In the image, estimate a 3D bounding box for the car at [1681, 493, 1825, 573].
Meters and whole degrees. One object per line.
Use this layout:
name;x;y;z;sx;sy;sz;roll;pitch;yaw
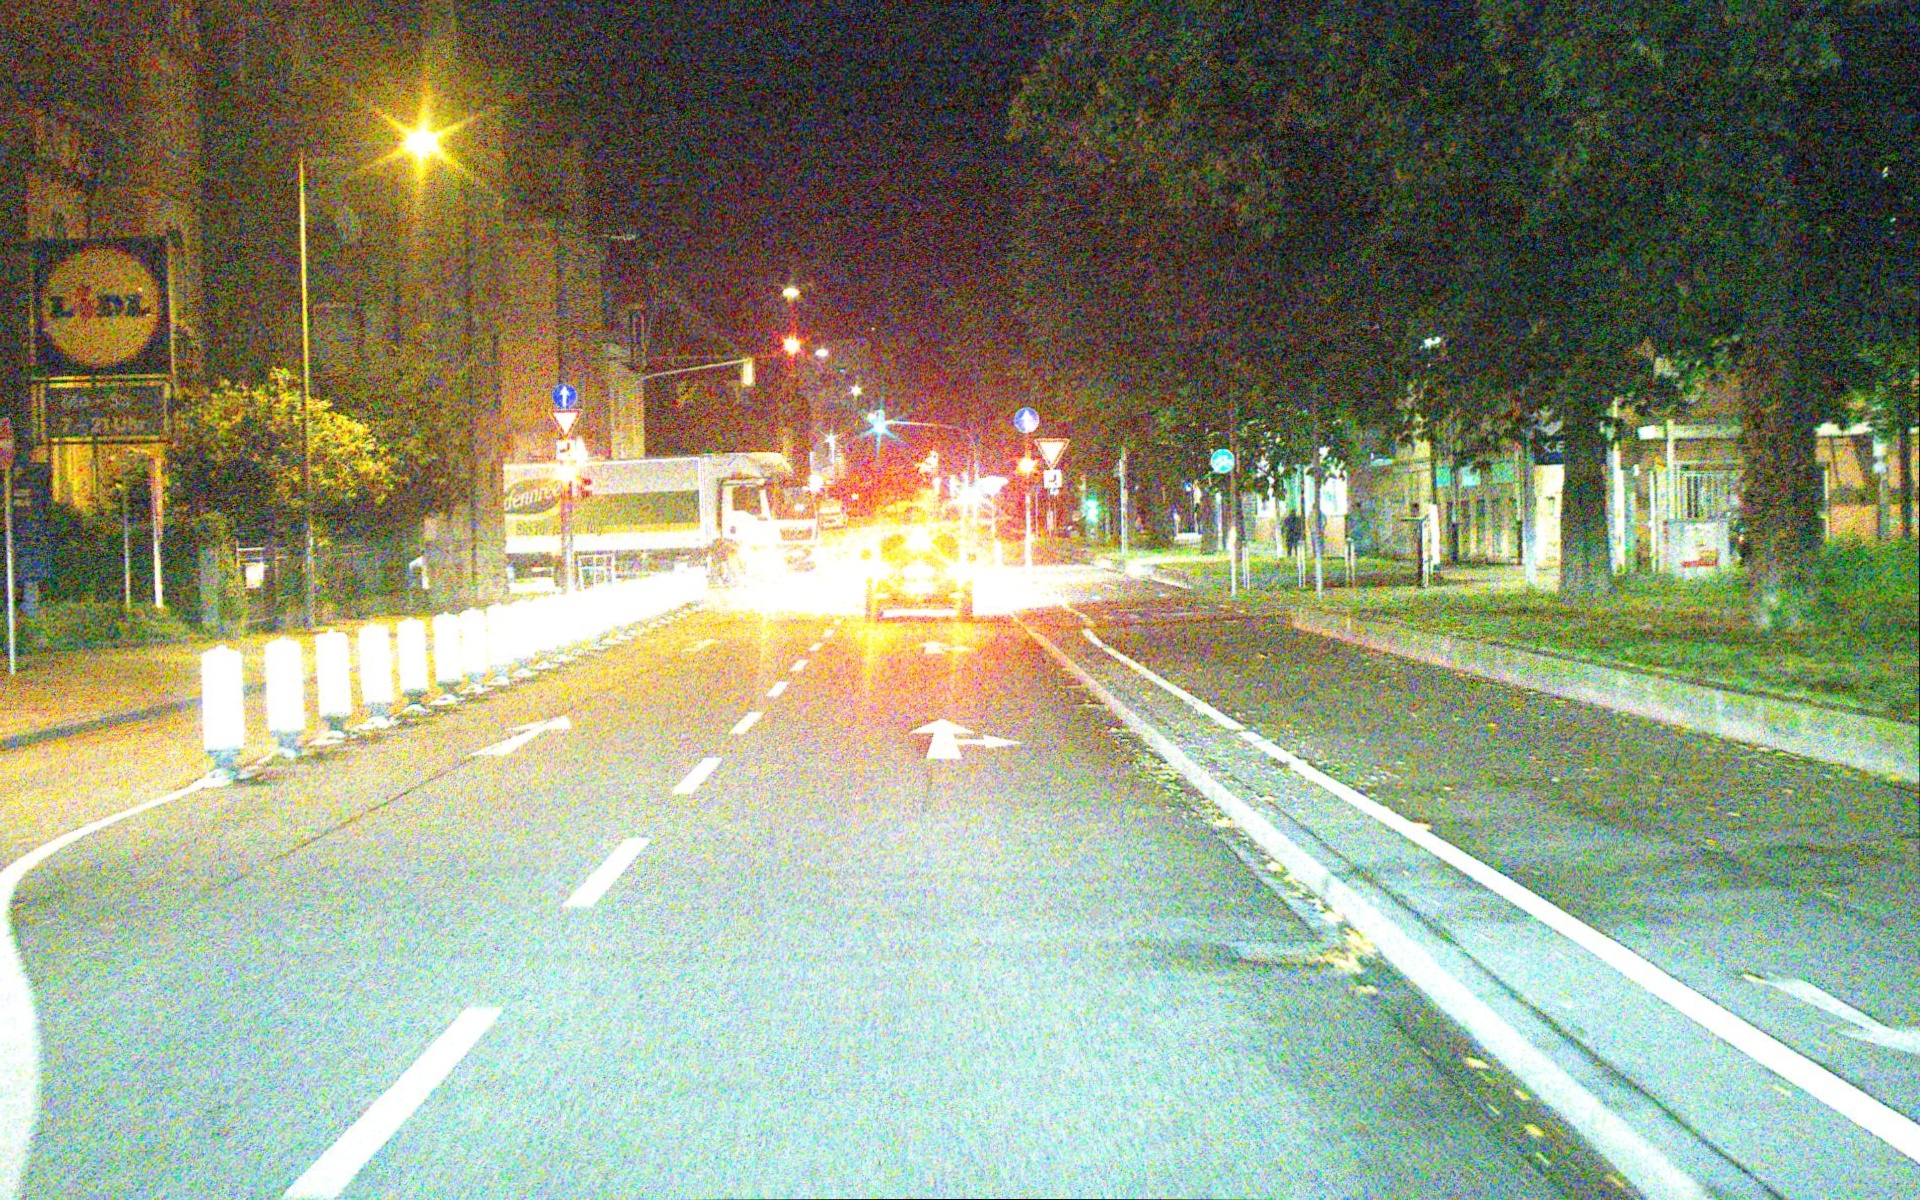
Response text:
car;14.781;-1.248;64.278;1.512;1.390;4.482;-2;1;-1

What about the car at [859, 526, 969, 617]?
car;-0.765;-0.522;59.261;1.805;1.489;4.730;0;1;0

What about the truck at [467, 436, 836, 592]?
truck;-8.366;-2.280;92.309;10.097;3.705;2.759;-2;2;32

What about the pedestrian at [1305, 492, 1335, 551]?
pedestrian;11.024;-2.394;105.193;0.738;1.763;0.907;-2;1;-1

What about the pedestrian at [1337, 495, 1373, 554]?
pedestrian;12.103;-2.301;105.312;0.901;1.763;0.907;-2;1;-1

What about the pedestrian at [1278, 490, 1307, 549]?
pedestrian;10.153;-2.474;105.087;0.714;1.763;0.907;-2;1;-1

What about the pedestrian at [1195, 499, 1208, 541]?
pedestrian;11.584;-3.825;164.957;0.487;2.007;0.551;-2;1;-1
